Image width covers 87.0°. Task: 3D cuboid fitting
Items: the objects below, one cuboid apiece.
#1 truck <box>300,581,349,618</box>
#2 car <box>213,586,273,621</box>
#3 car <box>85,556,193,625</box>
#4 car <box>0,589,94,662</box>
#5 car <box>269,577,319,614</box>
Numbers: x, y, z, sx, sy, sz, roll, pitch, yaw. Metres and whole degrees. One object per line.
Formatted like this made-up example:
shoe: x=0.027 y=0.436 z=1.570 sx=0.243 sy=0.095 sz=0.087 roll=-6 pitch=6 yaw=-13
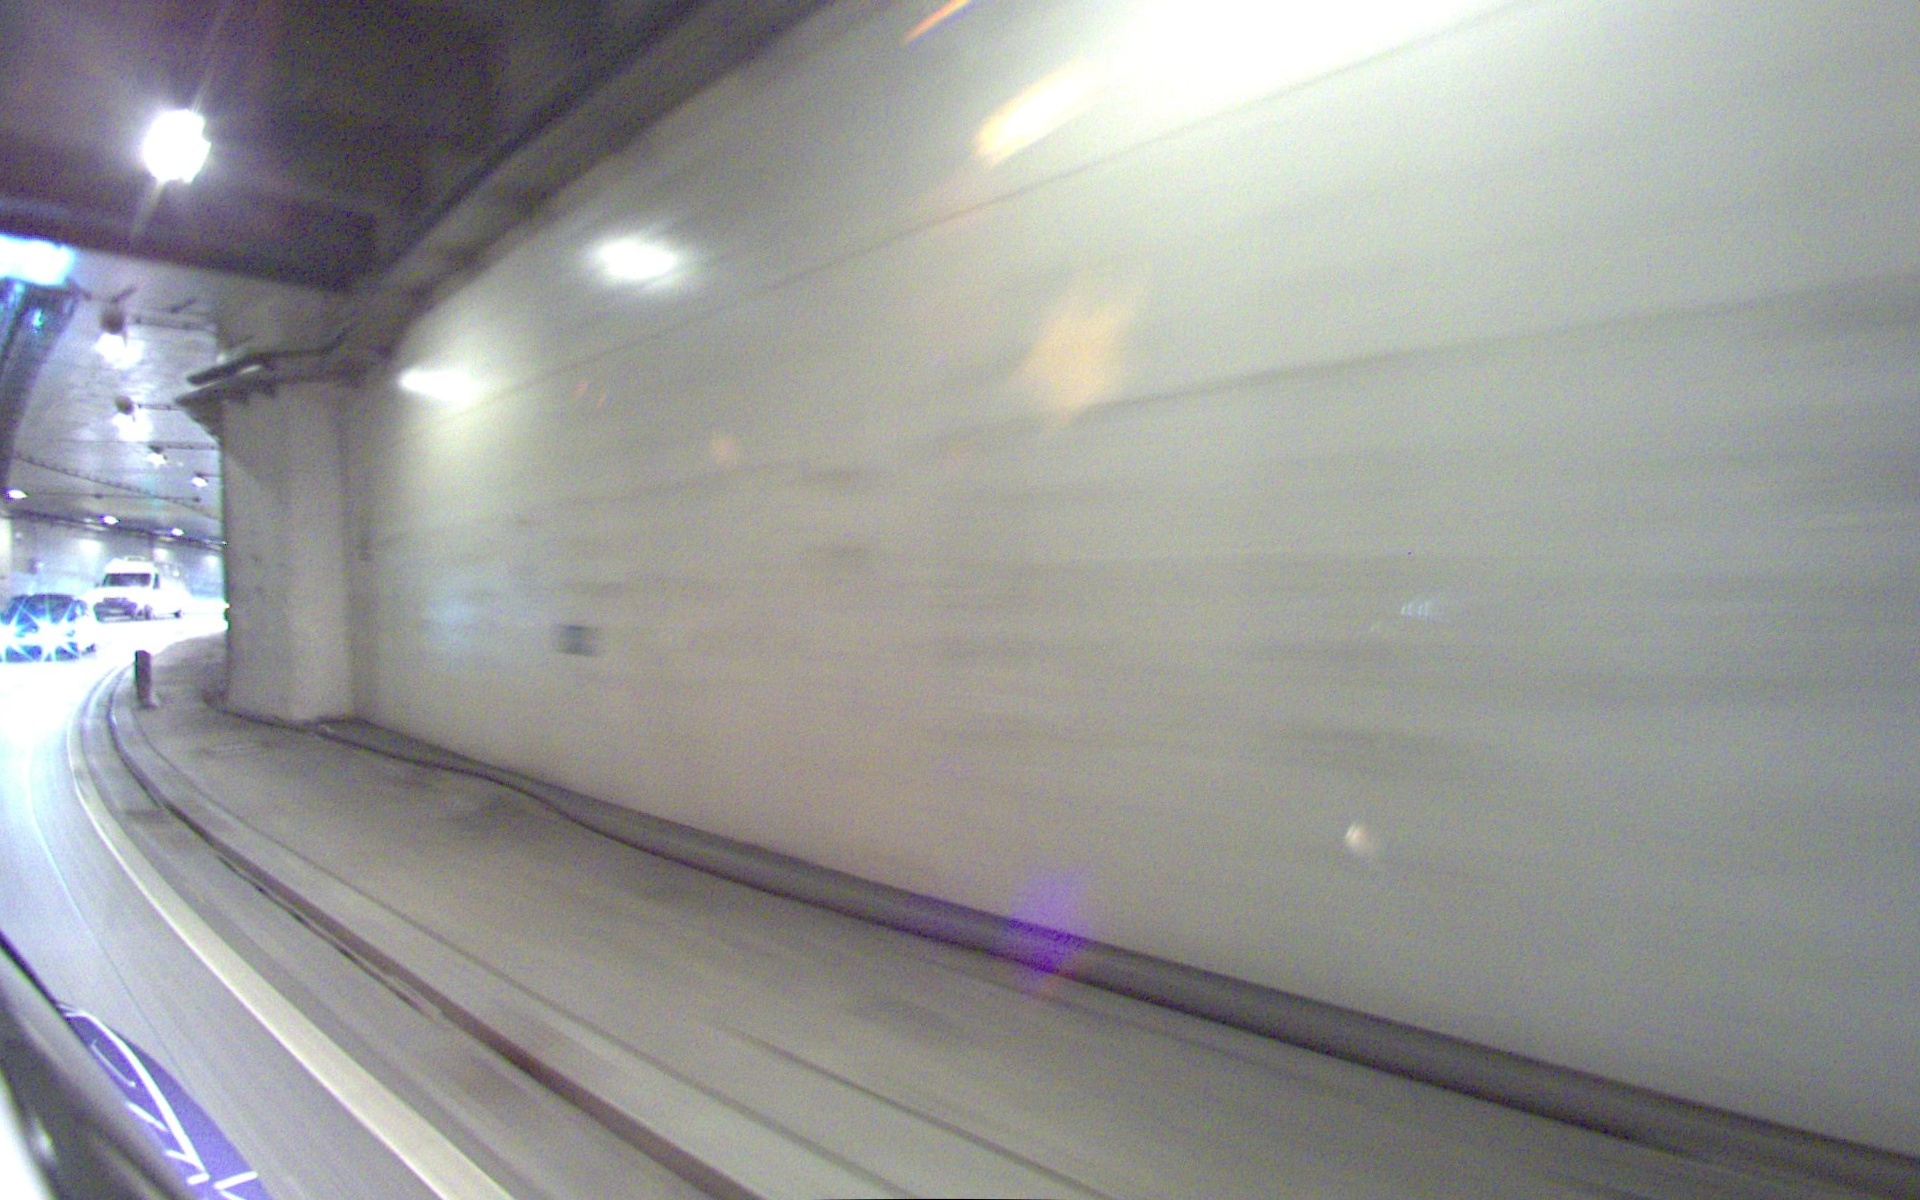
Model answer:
truck: x=-47.010 y=-0.104 z=75.001 sx=2.040 sy=2.558 sz=6.044 roll=-3 pitch=2 yaw=-23
car: x=-35.202 y=0.163 z=49.763 sx=1.735 sy=1.572 sz=3.831 roll=-3 pitch=1 yaw=-26
car: x=-36.887 y=-0.419 z=45.711 sx=2.071 sy=2.868 sz=6.884 roll=0 pitch=1 yaw=-24
car: x=-22.042 y=0.557 z=24.365 sx=1.614 sy=1.572 sz=3.724 roll=0 pitch=1 yaw=-38
car: x=-40.771 y=-0.229 z=62.023 sx=1.903 sy=1.944 sz=4.210 roll=-2 pitch=-3 yaw=-24
